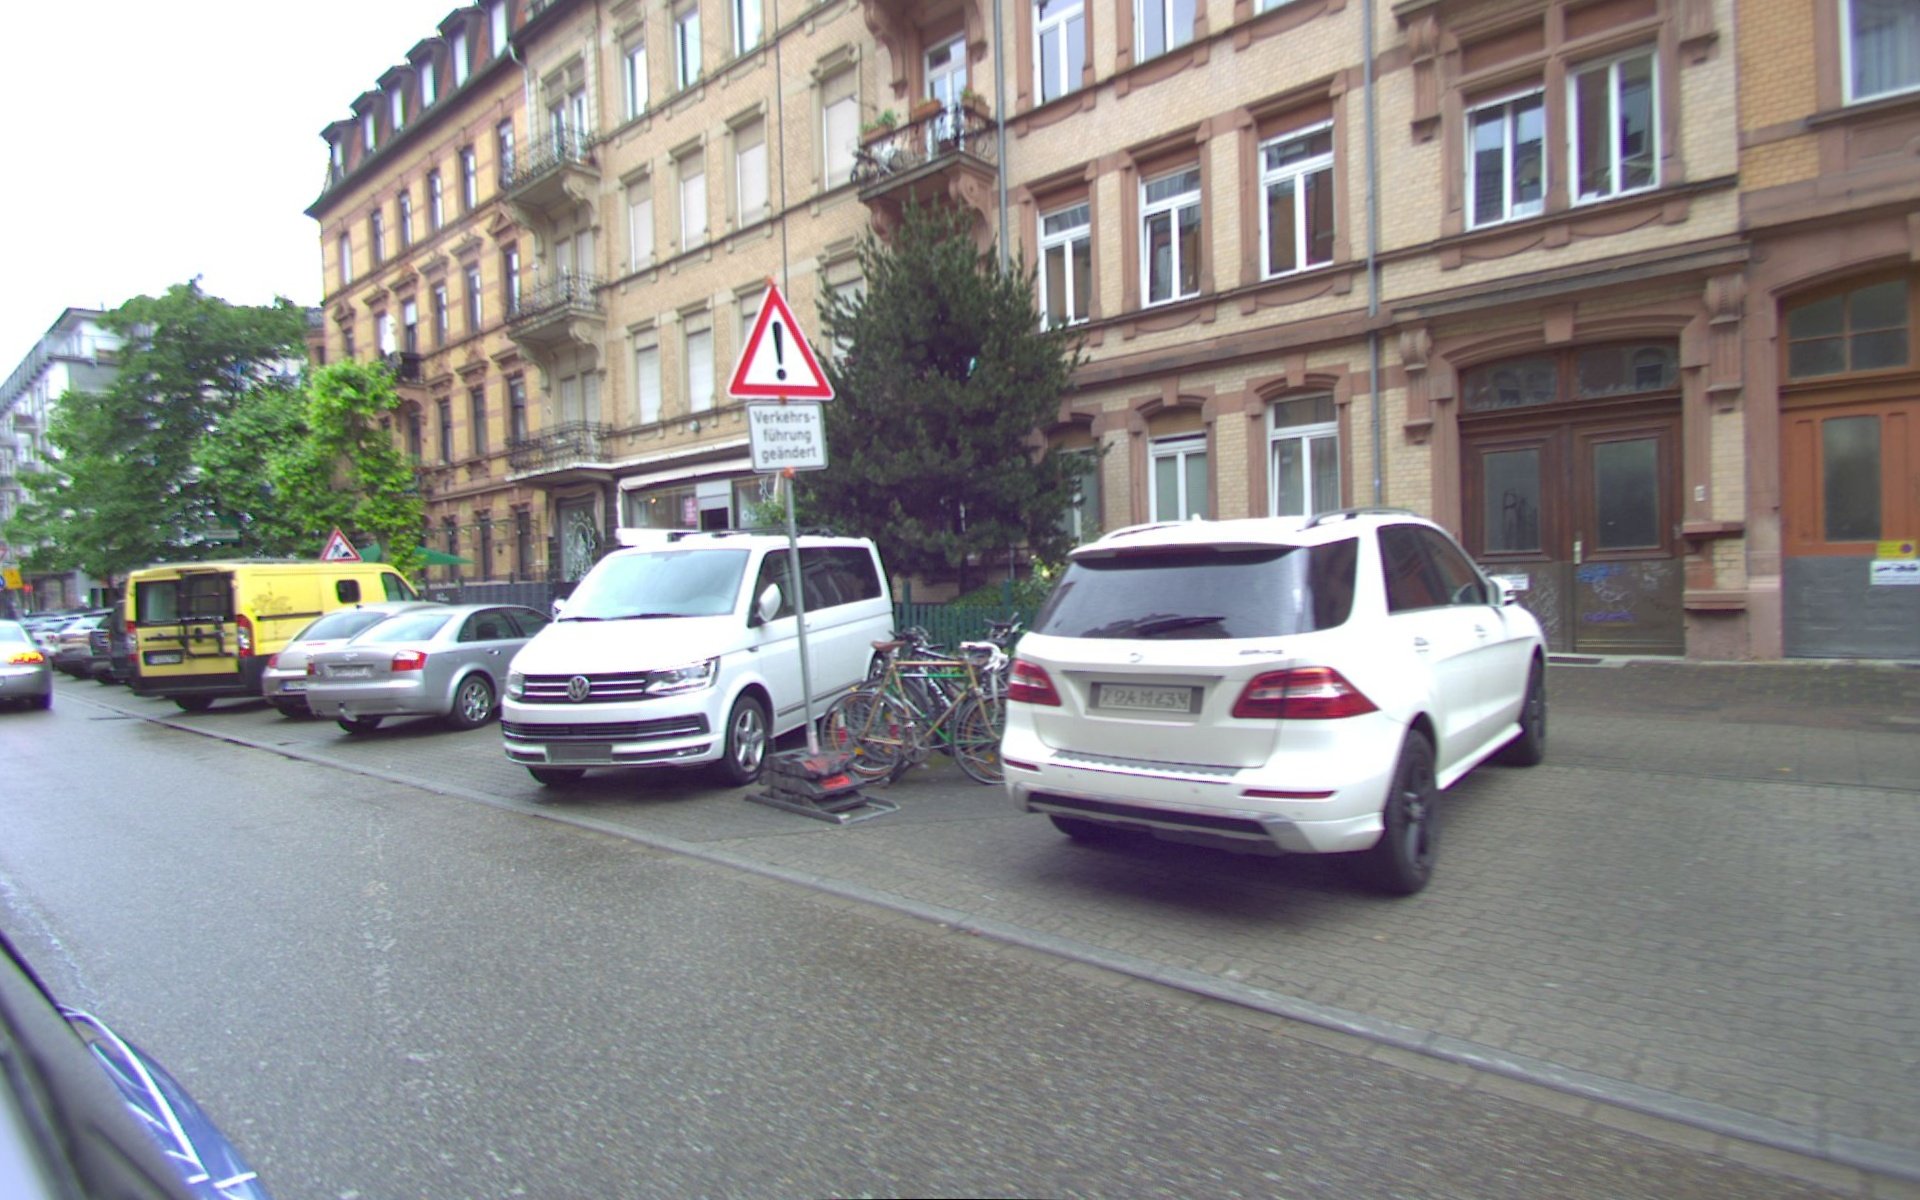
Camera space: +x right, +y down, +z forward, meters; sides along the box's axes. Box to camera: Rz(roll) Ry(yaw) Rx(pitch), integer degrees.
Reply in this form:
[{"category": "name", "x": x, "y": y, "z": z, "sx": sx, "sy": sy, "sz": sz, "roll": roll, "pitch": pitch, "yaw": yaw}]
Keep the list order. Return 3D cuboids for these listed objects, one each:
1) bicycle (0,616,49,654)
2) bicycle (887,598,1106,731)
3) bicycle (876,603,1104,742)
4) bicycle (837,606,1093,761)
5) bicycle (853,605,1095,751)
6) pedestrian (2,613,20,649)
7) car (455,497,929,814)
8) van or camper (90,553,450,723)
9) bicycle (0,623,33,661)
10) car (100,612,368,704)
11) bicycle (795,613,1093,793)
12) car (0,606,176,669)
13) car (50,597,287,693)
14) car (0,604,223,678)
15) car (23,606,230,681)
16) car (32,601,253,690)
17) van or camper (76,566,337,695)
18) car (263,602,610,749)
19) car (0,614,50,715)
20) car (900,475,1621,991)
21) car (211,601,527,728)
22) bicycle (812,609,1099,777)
[{"category": "bicycle", "x": -29.818, "y": 1.105, "z": 32.170, "sx": 1.667, "sy": 1.152, "sz": 0.397, "roll": -2, "pitch": 1, "yaw": 16}, {"category": "bicycle", "x": 0.353, "y": 0.619, "z": 9.676, "sx": 2.022, "sy": 1.183, "sz": 0.406, "roll": -2, "pitch": 1, "yaw": 11}, {"category": "bicycle", "x": 0.277, "y": 0.663, "z": 9.281, "sx": 2.022, "sy": 1.183, "sz": 0.406, "roll": -2, "pitch": 1, "yaw": 11}, {"category": "bicycle", "x": 0.049, "y": 0.681, "z": 8.320, "sx": 2.022, "sy": 1.183, "sz": 0.481, "roll": -2, "pitch": 1, "yaw": 11}, {"category": "bicycle", "x": 0.136, "y": 0.678, "z": 8.854, "sx": 2.022, "sy": 1.183, "sz": 0.542, "roll": -2, "pitch": 1, "yaw": 11}, {"category": "pedestrian", "x": -50.970, "y": 1.664, "z": 54.370, "sx": 0.595, "sy": 1.862, "sz": 0.770, "roll": -3, "pitch": 1, "yaw": -41}, {"category": "car", "x": -1.972, "y": 0.309, "z": 9.451, "sx": 1.853, "sy": 2.094, "sz": 5.227, "roll": -1, "pitch": 1, "yaw": 16}, {"category": "van or camper", "x": -10.912, "y": 0.448, "z": 16.584, "sx": 2.159, "sy": 2.284, "sz": 4.717, "roll": -3, "pitch": 2, "yaw": 8}, {"category": "bicycle", "x": -30.127, "y": 1.324, "z": 31.818, "sx": 1.665, "sy": 1.152, "sz": 0.585, "roll": -2, "pitch": 1, "yaw": 13}, {"category": "car", "x": -13.243, "y": 1.003, "z": 18.807, "sx": 1.806, "sy": 1.506, "sz": 3.989, "roll": -2, "pitch": -1, "yaw": 8}, {"category": "bicycle", "x": -0.102, "y": 0.729, "z": 7.230, "sx": 2.022, "sy": 1.183, "sz": 0.542, "roll": -2, "pitch": 1, "yaw": 11}, {"category": "car", "x": -27.398, "y": 1.127, "z": 31.701, "sx": 1.974, "sy": 1.575, "sz": 4.454, "roll": -1, "pitch": 3, "yaw": 4}, {"category": "car", "x": -17.352, "y": 0.912, "z": 22.481, "sx": 1.778, "sy": 1.674, "sz": 4.134, "roll": -1, "pitch": 3, "yaw": 4}, {"category": "car", "x": -23.723, "y": 1.077, "z": 28.587, "sx": 1.976, "sy": 1.574, "sz": 4.717, "roll": -4, "pitch": 2, "yaw": 6}, {"category": "car", "x": -21.828, "y": 1.078, "z": 26.755, "sx": 1.778, "sy": 1.504, "sz": 4.133, "roll": -1, "pitch": 3, "yaw": 5}, {"category": "car", "x": -19.669, "y": 1.013, "z": 24.633, "sx": 1.778, "sy": 1.674, "sz": 4.134, "roll": -2, "pitch": 3, "yaw": 4}, {"category": "van or camper", "x": -15.225, "y": 0.508, "z": 20.791, "sx": 1.914, "sy": 2.255, "sz": 4.075, "roll": -1, "pitch": 3, "yaw": 8}, {"category": "car", "x": -6.316, "y": 0.827, "z": 12.800, "sx": 1.766, "sy": 1.446, "sz": 3.986, "roll": -2, "pitch": 1, "yaw": 12}, {"category": "car", "x": -16.527, "y": 1.056, "z": 16.685, "sx": 4.582, "sy": 1.505, "sz": 1.776, "roll": -2, "pitch": 1, "yaw": 42}, {"category": "car", "x": 2.148, "y": 0.330, "z": 6.076, "sx": 2.543, "sy": 1.798, "sz": 4.534, "roll": -1, "pitch": 3, "yaw": 40}, {"category": "car", "x": -8.389, "y": 0.836, "z": 14.838, "sx": 1.941, "sy": 1.506, "sz": 3.908, "roll": -2, "pitch": 1, "yaw": 10}, {"category": "bicycle", "x": -0.024, "y": 0.708, "z": 7.797, "sx": 2.105, "sy": 1.192, "sz": 0.542, "roll": -2, "pitch": 1, "yaw": 11}]
